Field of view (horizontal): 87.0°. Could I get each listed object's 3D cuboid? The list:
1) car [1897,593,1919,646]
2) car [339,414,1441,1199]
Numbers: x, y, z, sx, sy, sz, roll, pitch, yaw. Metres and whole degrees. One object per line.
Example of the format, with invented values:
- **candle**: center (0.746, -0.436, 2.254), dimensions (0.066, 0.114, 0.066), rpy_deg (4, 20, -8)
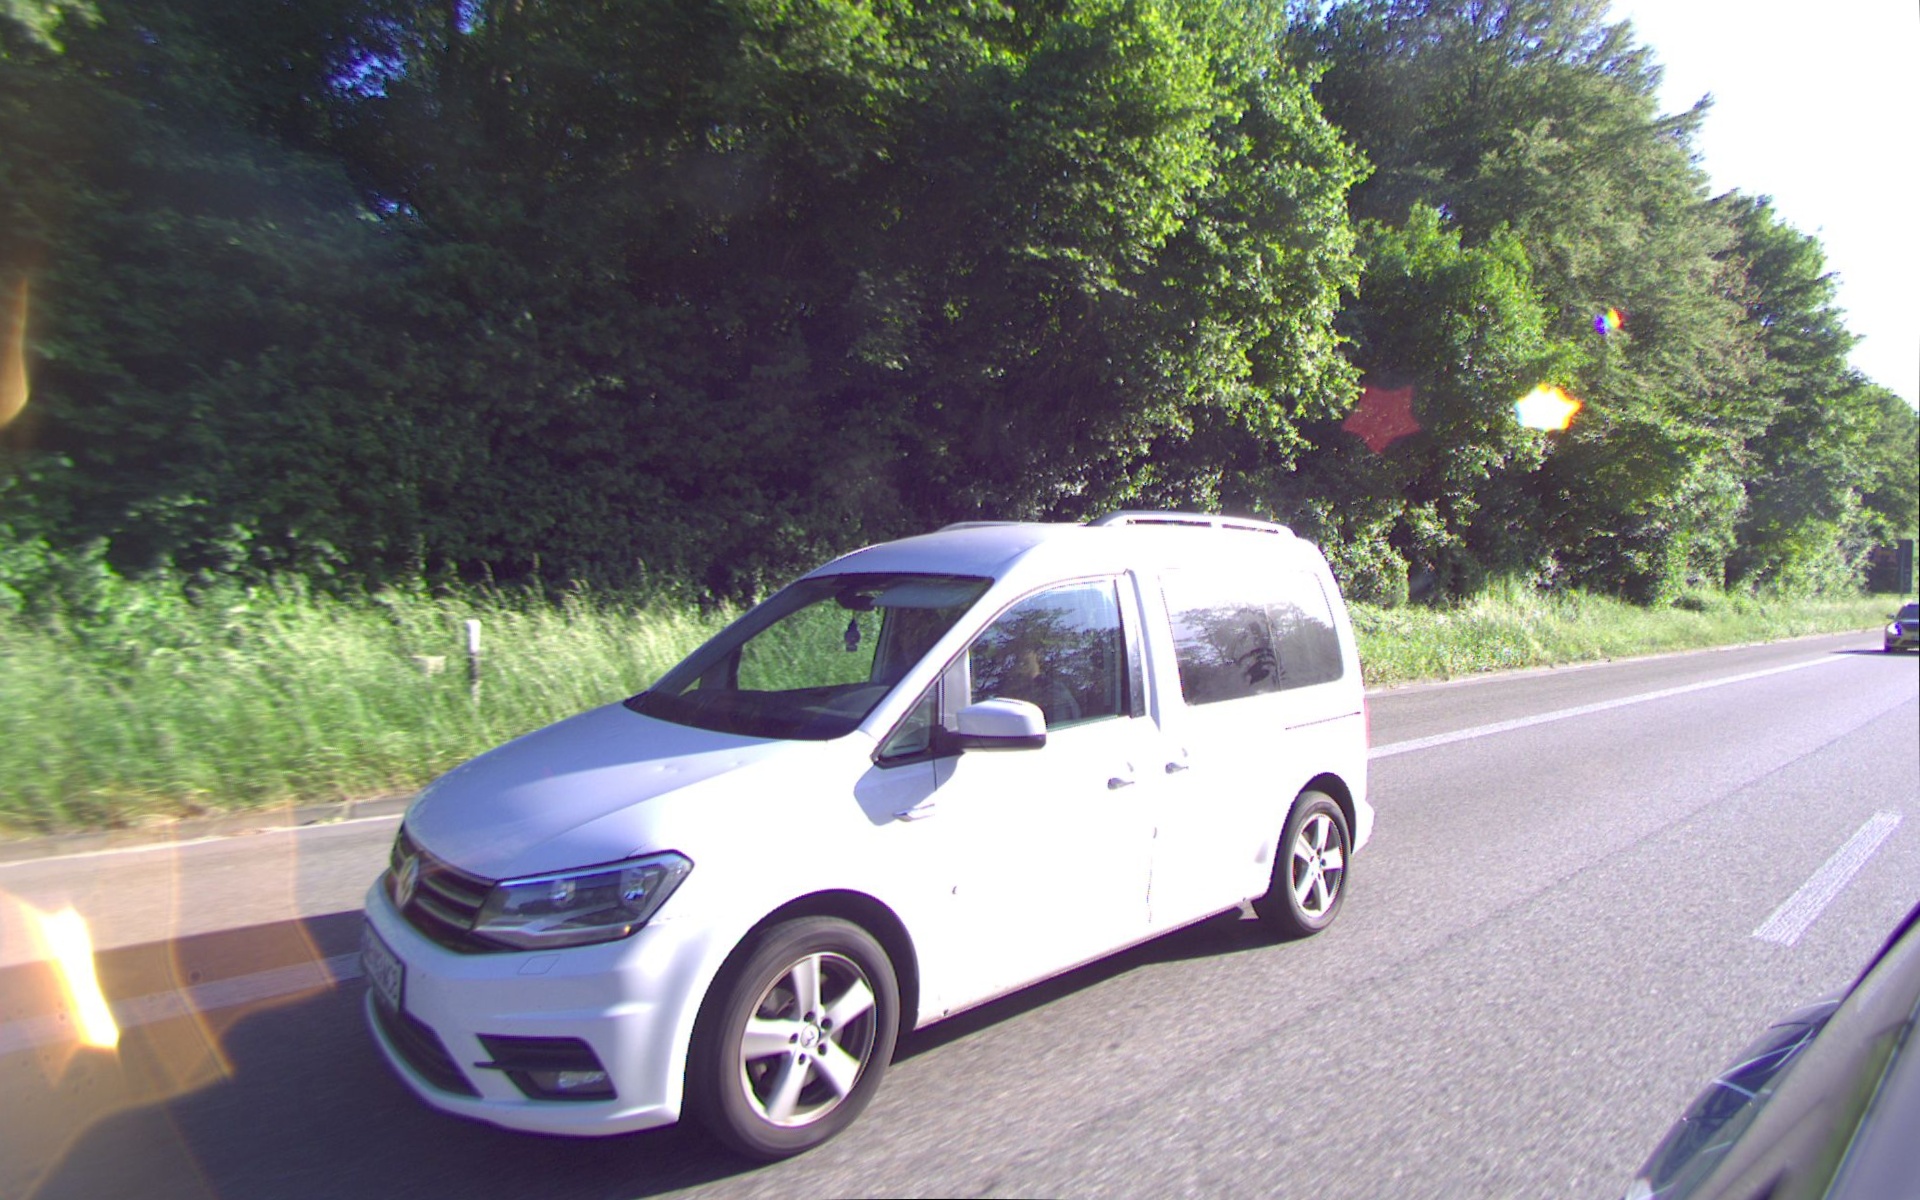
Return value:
- **car**: center (28.297, 0.533, 28.992), dimensions (3.811, 1.467, 1.792), rpy_deg (0, 0, -42)
- **car**: center (0.148, 0.496, 4.285), dimensions (4.508, 1.835, 1.802), rpy_deg (-1, 1, -42)
